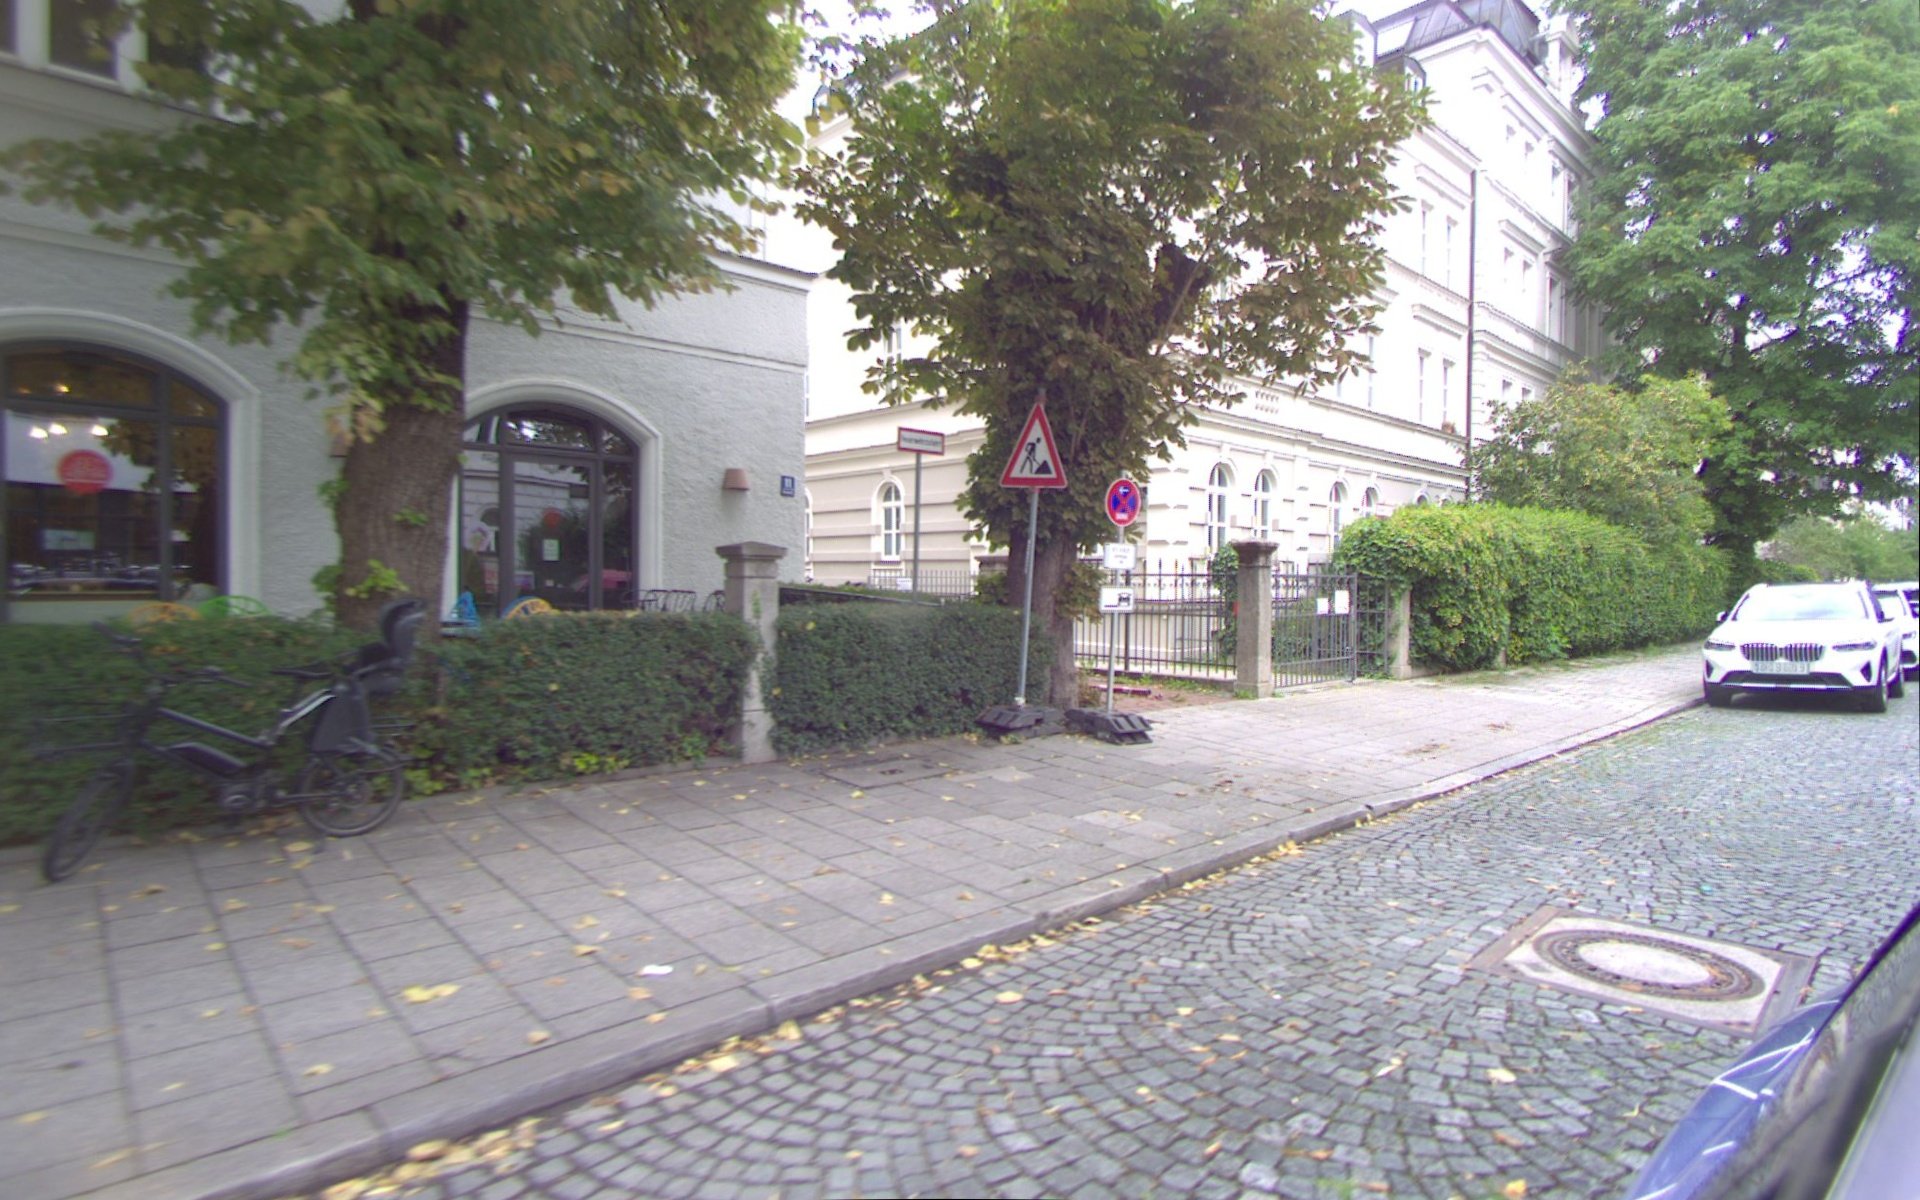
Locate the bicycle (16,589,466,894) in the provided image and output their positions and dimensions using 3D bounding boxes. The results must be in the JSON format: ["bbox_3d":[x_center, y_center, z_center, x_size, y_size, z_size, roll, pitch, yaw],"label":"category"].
[{"bbox_3d":[-3.359,0.577,4.861,1.701,1.212,0.428,-1,6,-43],"label":"bicycle"}]

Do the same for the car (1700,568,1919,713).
[{"bbox_3d":[12.134,0.417,14.231,4.555,1.706,1.923,-1,2,-42],"label":"car"}]

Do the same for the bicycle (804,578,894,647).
[{"bbox_3d":[-1.838,0.185,17.003,0.419,1.115,1.648,1,1,42],"label":"bicycle"}]

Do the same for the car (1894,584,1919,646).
[{"bbox_3d":[33.426,0.479,34.489,3.932,2.039,1.996,-1,1,-43],"label":"car"}]

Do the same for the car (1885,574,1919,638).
[{"bbox_3d":[29.728,0.131,30.933,4.730,1.843,1.815,-1,-2,-44],"label":"car"}]

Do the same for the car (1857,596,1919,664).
[{"bbox_3d":[20.975,0.601,21.939,4.729,1.314,1.921,-1,2,-44],"label":"car"}]

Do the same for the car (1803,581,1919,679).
[{"bbox_3d":[17.119,0.465,18.797,4.398,1.620,1.749,-1,1,-44],"label":"car"}]

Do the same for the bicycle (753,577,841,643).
[{"bbox_3d":[-2.877,0.159,18.011,0.419,1.115,1.648,1,1,42],"label":"bicycle"}]
